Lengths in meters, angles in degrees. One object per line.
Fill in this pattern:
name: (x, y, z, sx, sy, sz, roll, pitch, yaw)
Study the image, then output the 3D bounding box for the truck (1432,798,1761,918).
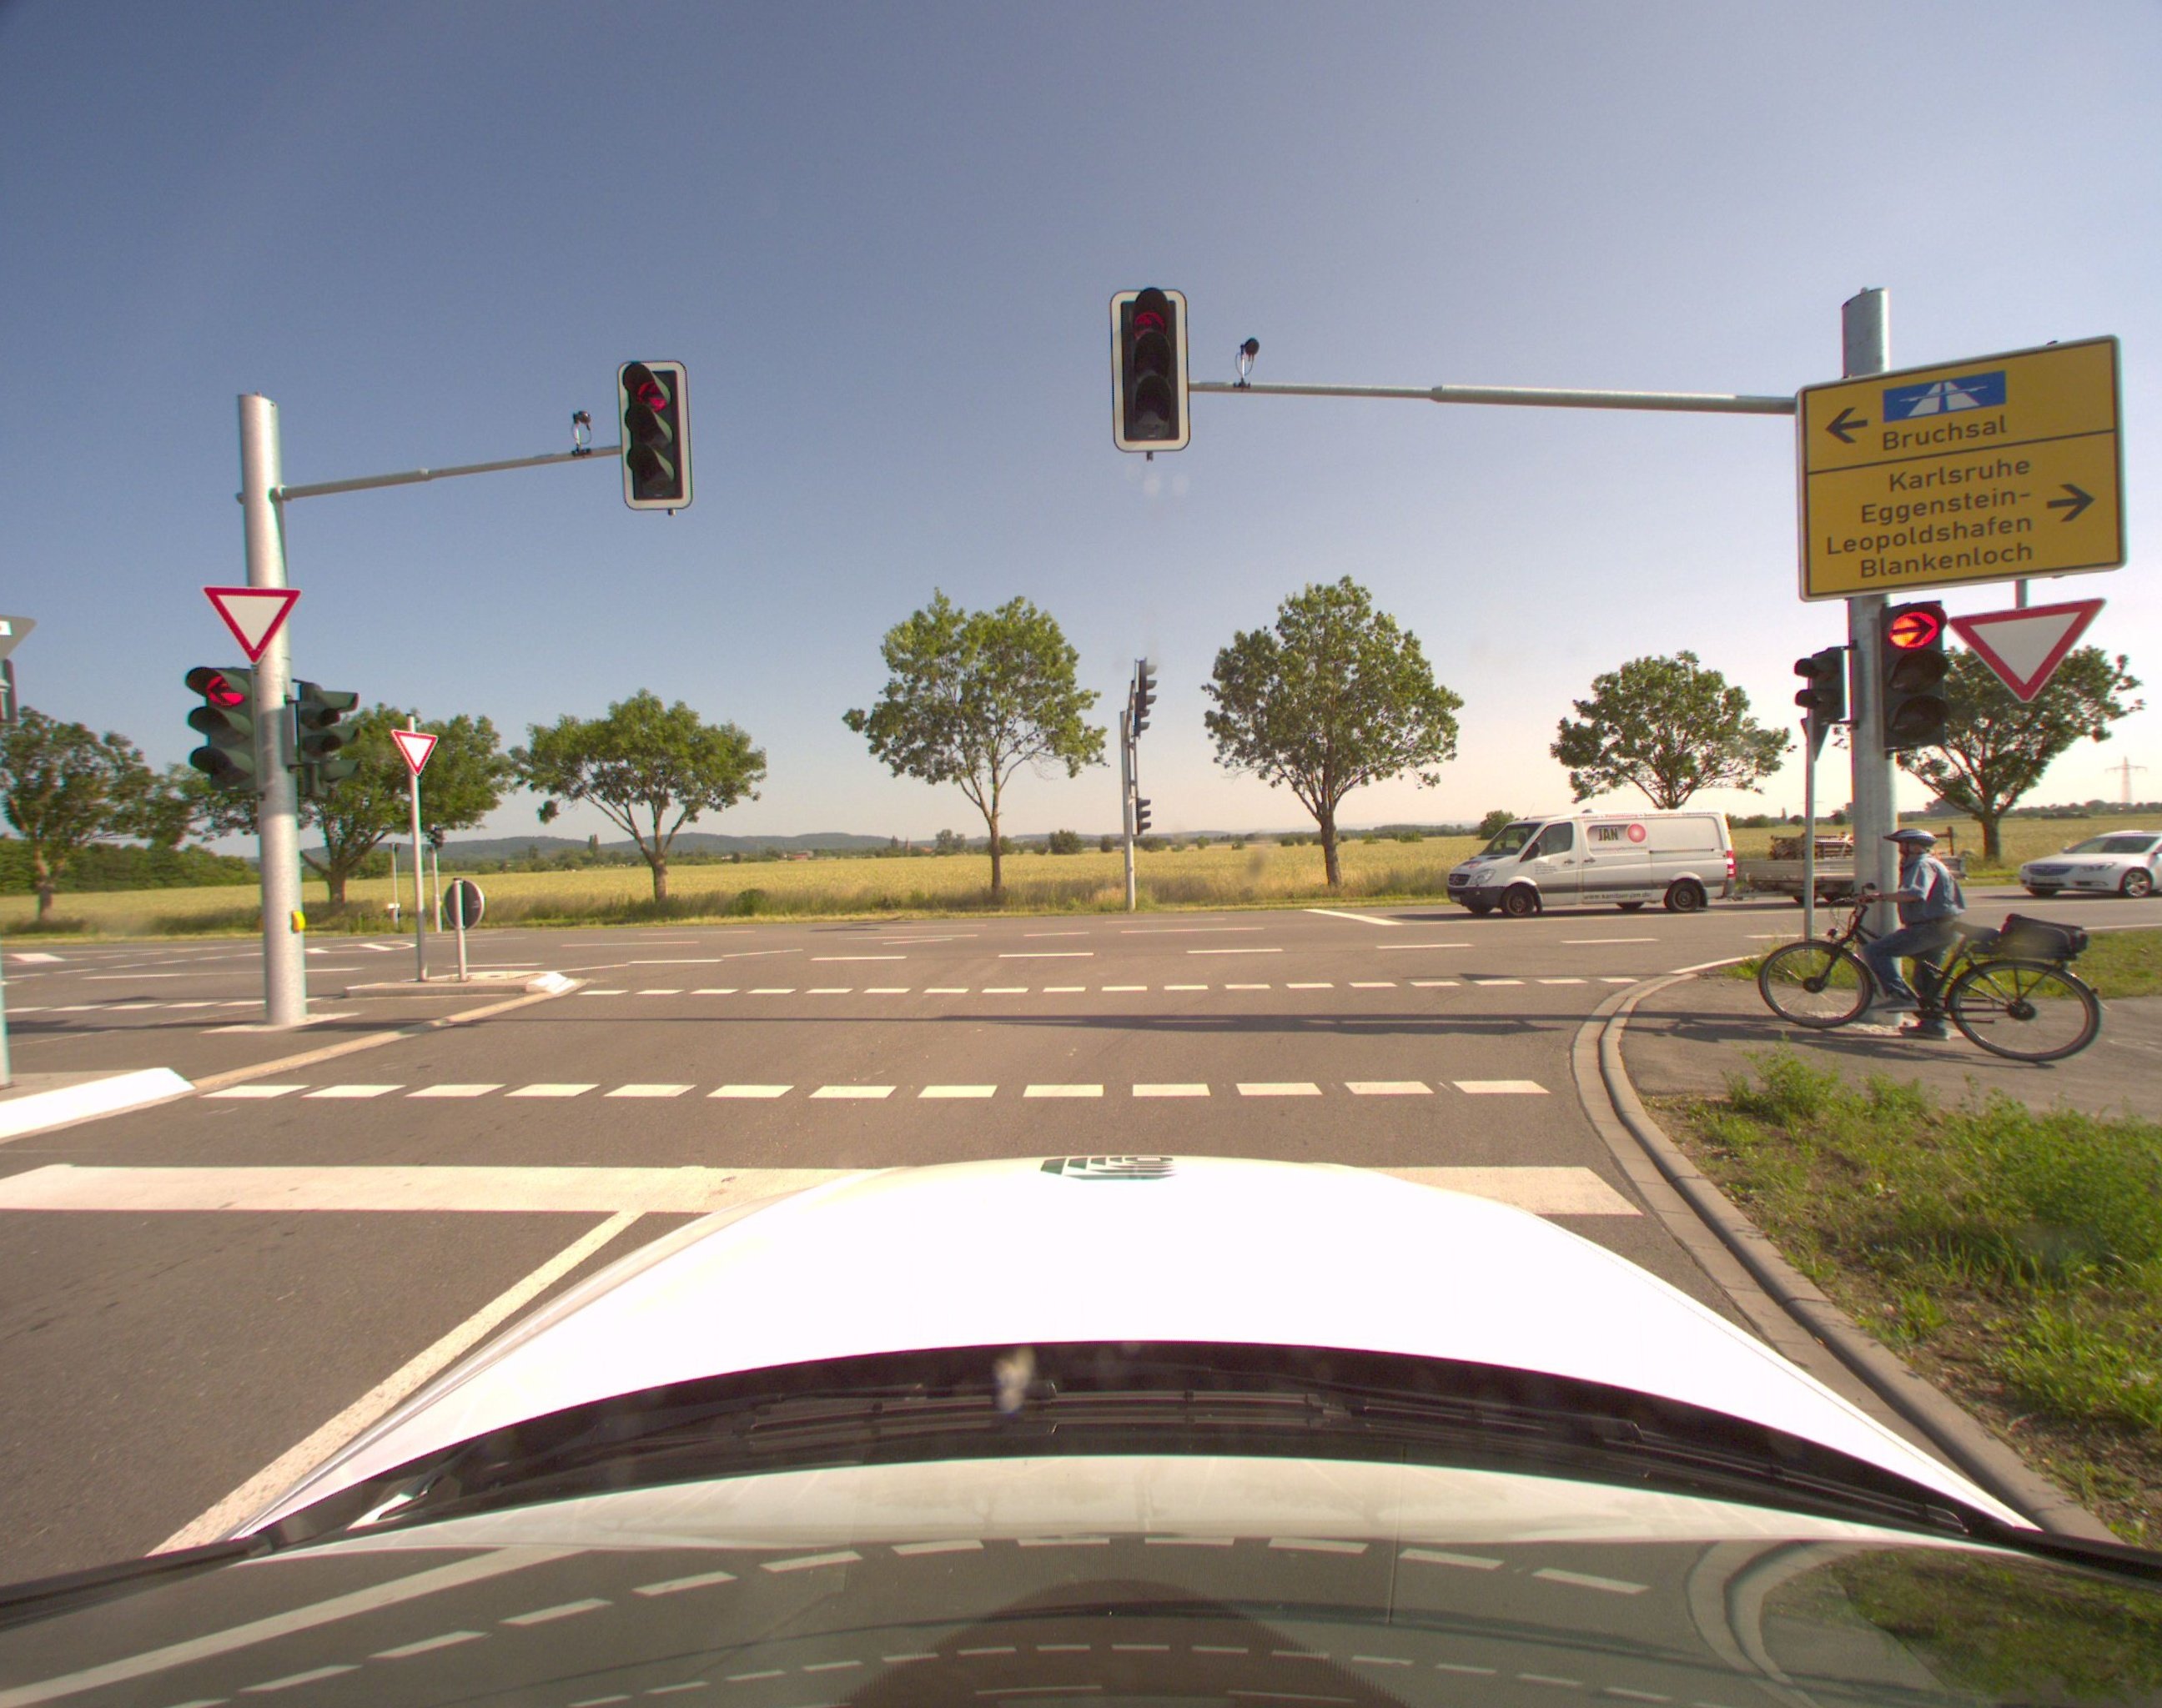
truck: (11.587, 0.093, 18.640, 6.157, 2.405, 2.071, -2, -1, 0)

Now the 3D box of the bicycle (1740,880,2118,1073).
bicycle: (6.406, 0.841, 6.311, 0.685, 1.151, 1.922, 0, 2, -44)

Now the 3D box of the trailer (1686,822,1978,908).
trailer: (17.173, 0.247, 18.805, 4.982, 1.738, 1.979, -2, -1, -2)

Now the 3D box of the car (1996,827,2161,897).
car: (24.575, 0.134, 18.987, 4.682, 1.492, 1.763, -2, -1, -3)

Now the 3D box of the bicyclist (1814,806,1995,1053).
bicyclist: (6.378, 0.526, 6.340, 0.623, 1.765, 0.906, 0, 1, -44)
